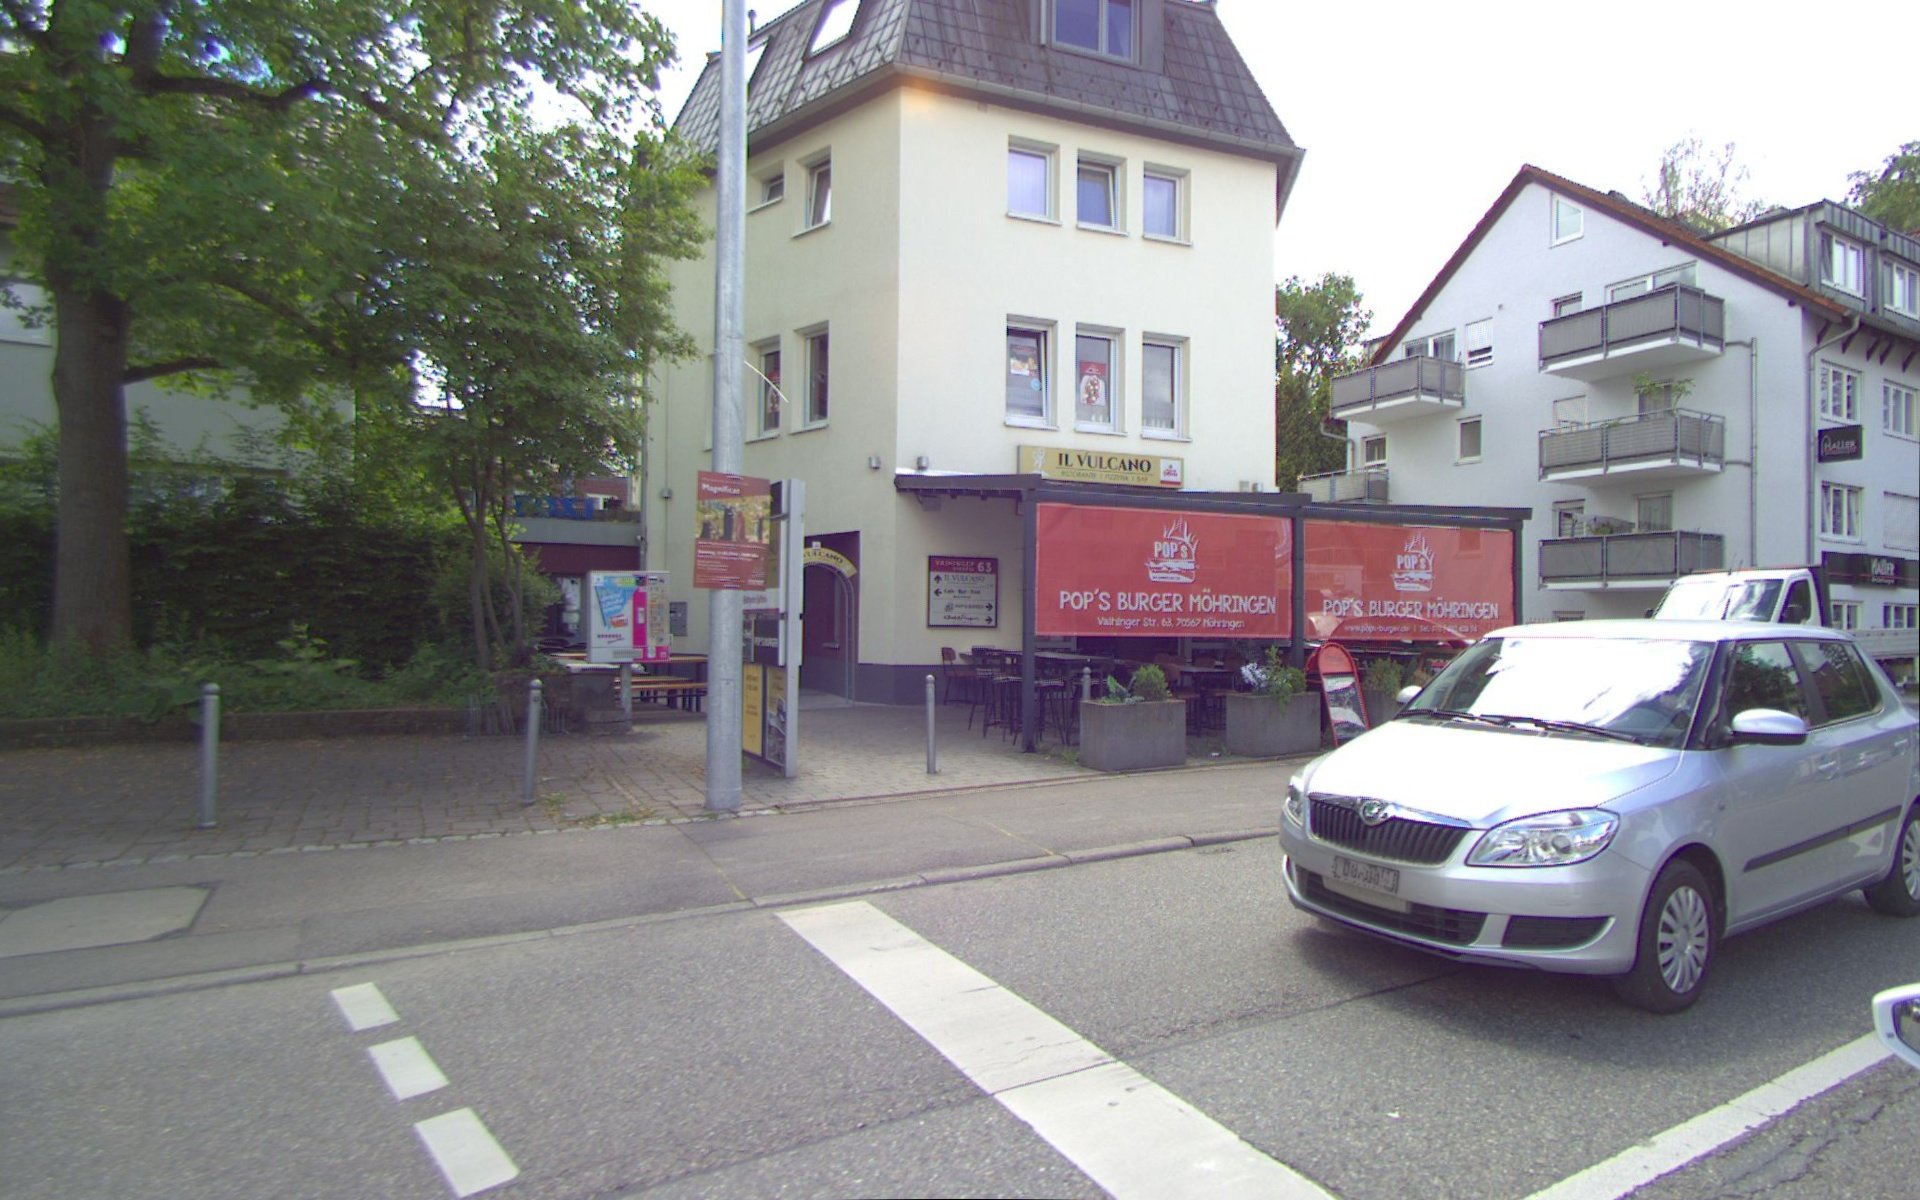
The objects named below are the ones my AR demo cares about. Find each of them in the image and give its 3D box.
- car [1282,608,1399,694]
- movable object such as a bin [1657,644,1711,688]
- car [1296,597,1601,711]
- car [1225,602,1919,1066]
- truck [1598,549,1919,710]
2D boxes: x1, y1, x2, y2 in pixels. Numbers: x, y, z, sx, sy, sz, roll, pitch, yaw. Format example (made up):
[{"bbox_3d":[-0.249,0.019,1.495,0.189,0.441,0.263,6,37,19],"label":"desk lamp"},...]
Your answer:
[{"bbox_3d":[7.079,0.923,18.933,1.534,1.489,2.850,0,-1,10],"label":"car"},{"bbox_3d":[16.709,1.516,23.188,0.652,0.975,0.795,1,-1,-25],"label":"movable object such as a bin"},{"bbox_3d":[7.015,0.696,14.753,1.785,1.444,3.672,0,0,-32],"label":"car"},{"bbox_3d":[3.238,0.776,4.952,3.770,1.506,1.609,0,0,-32],"label":"car"},{"bbox_3d":[14.046,0.495,17.364,6.243,2.411,2.217,1,-1,-27],"label":"truck"}]
